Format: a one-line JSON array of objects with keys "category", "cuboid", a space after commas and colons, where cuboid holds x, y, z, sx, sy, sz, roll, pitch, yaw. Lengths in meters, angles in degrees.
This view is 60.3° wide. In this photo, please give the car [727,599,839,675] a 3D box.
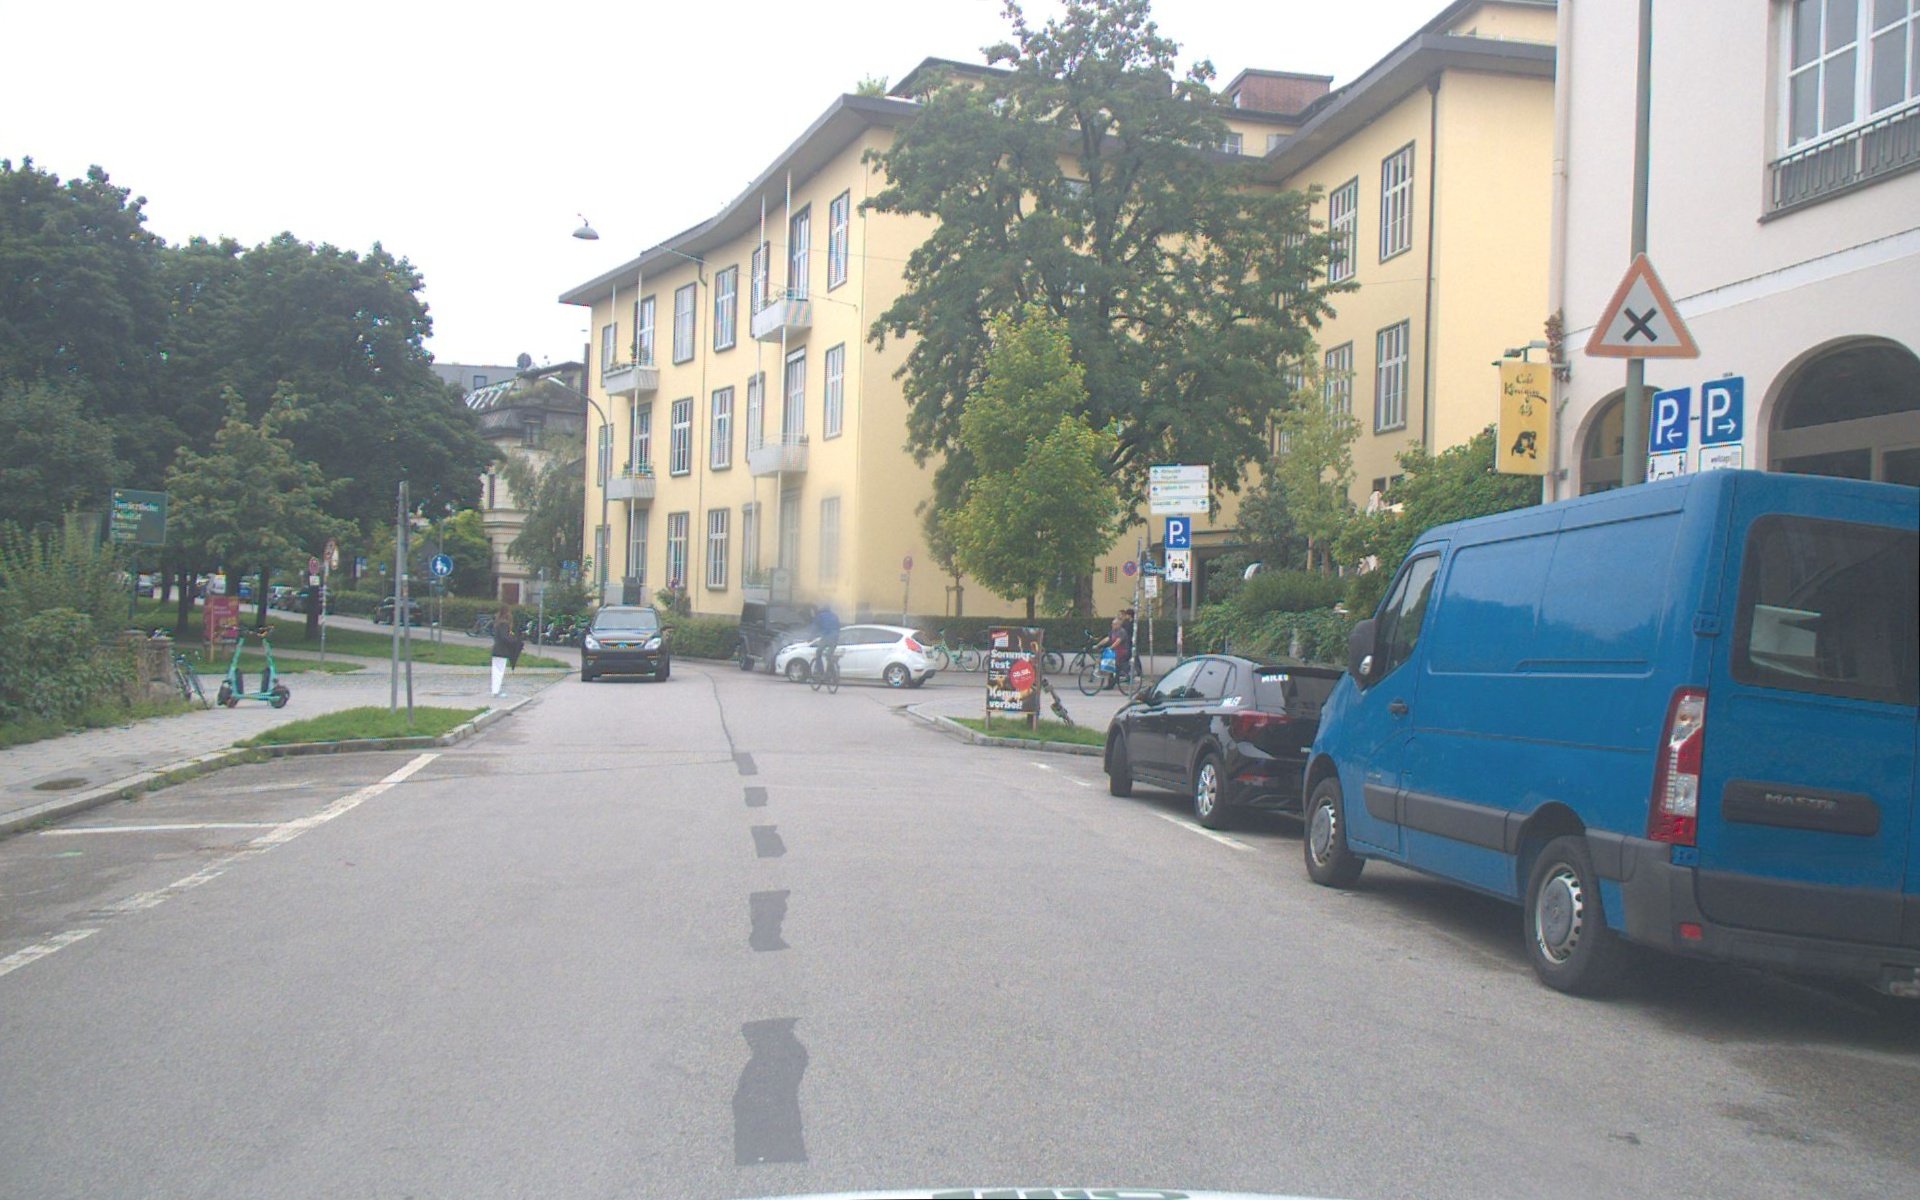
[{"category": "car", "cuboid": [-4.903, 0.966, 45.253, 1.847, 1.920, 4.587, 1, 0, -22]}]

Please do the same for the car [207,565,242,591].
[{"category": "car", "cuboid": [-59.094, -1.779, 132.805, 2.044, 2.000, 4.927, 1, 0, -30]}]

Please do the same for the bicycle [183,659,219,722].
[{"category": "bicycle", "cuboid": [-11.517, 1.360, 25.091, 0.428, 0.909, 1.318, 2, -2, -27]}]

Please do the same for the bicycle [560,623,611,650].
[{"category": "bicycle", "cuboid": [-14.750, 1.436, 65.148, 0.608, 1.047, 1.964, 1, -1, 43]}]

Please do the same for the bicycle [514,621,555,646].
[{"category": "bicycle", "cuboid": [-17.720, 1.400, 68.931, 0.521, 1.047, 1.977, 1, -1, 23]}]

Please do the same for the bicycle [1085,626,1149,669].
[{"category": "bicycle", "cuboid": [4.305, 1.308, 45.348, 1.651, 1.150, 0.459, 1, 0, -10]}]

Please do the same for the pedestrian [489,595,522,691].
[{"category": "pedestrian", "cuboid": [-8.314, 0.777, 30.244, 0.534, 1.726, 0.662, 0, 0, -21]}]

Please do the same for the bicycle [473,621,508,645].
[{"category": "bicycle", "cuboid": [-21.008, 1.454, 74.030, 0.402, 1.032, 1.529, 1, 0, 40]}]

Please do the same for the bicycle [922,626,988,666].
[{"category": "bicycle", "cuboid": [-0.146, 1.300, 46.374, 1.910, 1.104, 0.527, -1, -2, 34]}]

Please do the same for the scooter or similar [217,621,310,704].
[{"category": "scooter or similar", "cuboid": [-10.864, 0.974, 25.808, 1.234, 1.266, 0.394, 1, -2, 3]}]

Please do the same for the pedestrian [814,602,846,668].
[{"category": "pedestrian", "cuboid": [-3.595, 0.970, 45.665, 0.832, 1.788, 0.952, 1, 0, -7]}]

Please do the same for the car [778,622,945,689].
[{"category": "car", "cuboid": [-2.340, 1.304, 39.628, 3.636, 1.431, 1.754, 1, 0, 13]}]

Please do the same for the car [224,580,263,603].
[{"category": "car", "cuboid": [-54.105, -0.647, 124.817, 1.976, 1.628, 4.204, 1, 0, -34]}]

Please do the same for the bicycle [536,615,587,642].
[{"category": "bicycle", "cuboid": [-16.026, 1.168, 66.475, 0.608, 1.047, 1.964, 1, -1, 43]}]

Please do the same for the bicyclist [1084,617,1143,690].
[{"category": "bicyclist", "cuboid": [3.546, 1.221, 38.090, 1.041, 1.637, 0.864, 1, 0, -44]}]

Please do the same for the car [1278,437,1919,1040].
[{"category": "car", "cuboid": [3.590, 0.679, 8.989, 2.070, 2.252, 5.020, 6, -3, -7]}]

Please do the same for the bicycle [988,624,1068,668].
[{"category": "bicycle", "cuboid": [1.866, 1.261, 45.437, 2.121, 1.135, 0.641, 1, 0, 7]}]

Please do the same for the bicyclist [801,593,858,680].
[{"category": "bicyclist", "cuboid": [-2.755, 0.762, 34.856, 0.900, 1.795, 1.209, 1, 0, -18]}]

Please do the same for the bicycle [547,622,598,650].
[{"category": "bicycle", "cuboid": [-15.397, 1.437, 65.711, 0.608, 1.047, 1.964, 1, -1, 43]}]

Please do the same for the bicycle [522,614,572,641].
[{"category": "bicycle", "cuboid": [-16.847, 1.118, 67.495, 0.608, 1.047, 1.964, 1, -1, 43]}]

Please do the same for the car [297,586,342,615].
[{"category": "car", "cuboid": [-39.825, 0.014, 102.797, 1.777, 1.709, 3.953, 1, 0, -34]}]

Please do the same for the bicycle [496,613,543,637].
[{"category": "bicycle", "cuboid": [-19.398, 1.106, 72.925, 0.608, 1.047, 1.964, 1, -1, 43]}]

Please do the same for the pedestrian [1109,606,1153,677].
[{"category": "pedestrian", "cuboid": [4.499, 1.090, 43.538, 0.971, 1.841, 0.658, 1, 0, -10]}]

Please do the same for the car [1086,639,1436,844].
[{"category": "car", "cuboid": [2.559, 1.182, 15.083, 1.684, 1.419, 3.988, 5, -1, -12]}]

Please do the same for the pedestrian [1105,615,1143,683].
[{"category": "pedestrian", "cuboid": [4.385, 1.298, 44.157, 0.811, 1.776, 0.739, 1, 0, -10]}]

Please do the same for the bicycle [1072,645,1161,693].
[{"category": "bicycle", "cuboid": [3.622, 1.581, 38.173, 0.865, 1.037, 2.175, 1, 0, 45]}]

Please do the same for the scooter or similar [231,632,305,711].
[{"category": "scooter or similar", "cuboid": [-11.084, 1.141, 26.510, 0.429, 1.234, 1.053, 0, -2, 23]}]

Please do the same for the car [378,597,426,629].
[{"category": "car", "cuboid": [-29.112, 0.686, 86.273, 1.630, 1.585, 3.522, 1, 0, -31]}]

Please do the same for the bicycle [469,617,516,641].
[{"category": "bicycle", "cuboid": [-20.943, 1.309, 74.123, 0.608, 1.047, 1.964, 1, -1, 43]}]

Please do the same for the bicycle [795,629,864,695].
[{"category": "bicycle", "cuboid": [-2.767, 1.295, 34.847, 0.907, 1.274, 2.309, 1, 0, -19]}]

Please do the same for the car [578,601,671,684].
[{"category": "car", "cuboid": [-7.876, 0.950, 38.575, 1.959, 1.749, 4.599, 1, 0, -13]}]
